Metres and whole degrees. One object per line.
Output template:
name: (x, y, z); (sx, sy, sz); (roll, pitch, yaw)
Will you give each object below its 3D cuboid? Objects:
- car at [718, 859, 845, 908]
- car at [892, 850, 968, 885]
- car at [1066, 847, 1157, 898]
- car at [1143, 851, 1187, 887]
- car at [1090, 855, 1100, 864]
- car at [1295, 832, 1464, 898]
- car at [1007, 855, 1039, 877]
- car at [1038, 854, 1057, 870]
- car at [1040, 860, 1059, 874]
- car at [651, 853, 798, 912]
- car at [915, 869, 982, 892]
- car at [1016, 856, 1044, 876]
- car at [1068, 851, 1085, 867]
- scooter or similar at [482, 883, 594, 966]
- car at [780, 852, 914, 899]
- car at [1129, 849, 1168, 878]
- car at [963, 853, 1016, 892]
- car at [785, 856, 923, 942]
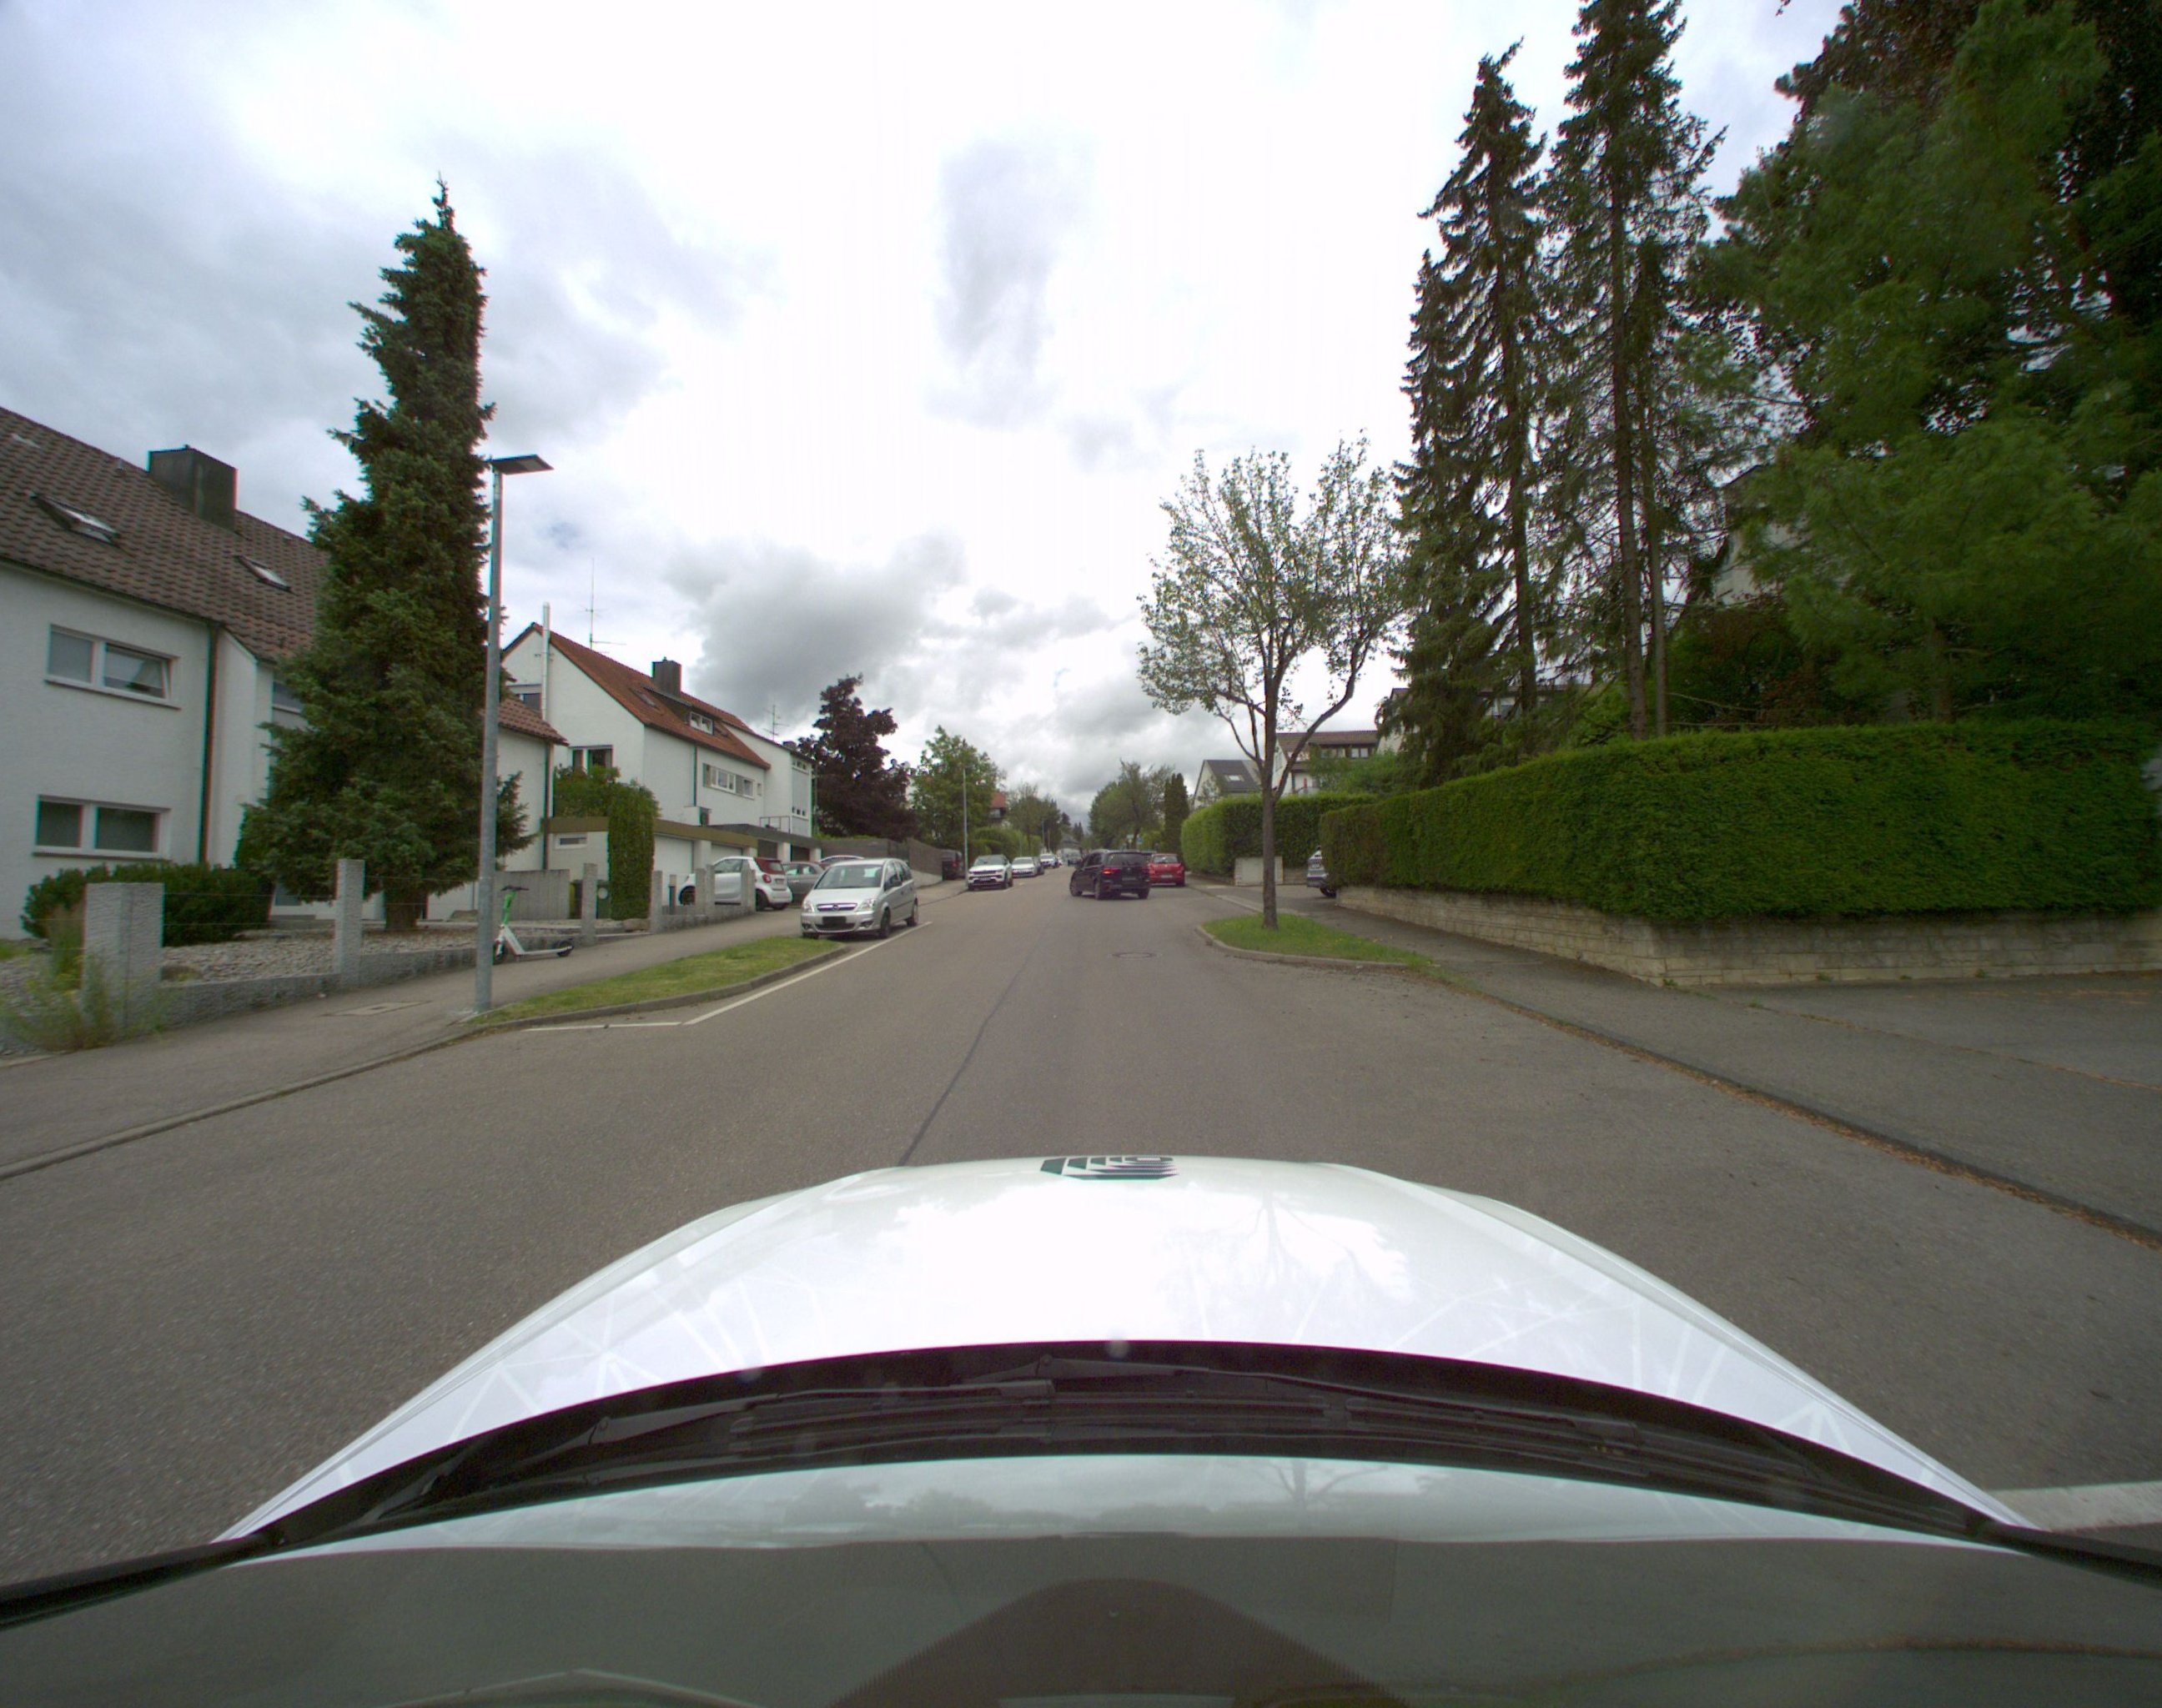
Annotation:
car: (-9.635, 0.937, 26.391); (3.416, 1.512, 1.693); (1, -1, 2)
car: (-9.211, 0.826, 49.805); (4.049, 1.950, 2.005); (-2, -2, 9)
car: (0.958, 0.621, 28.312); (1.852, 1.611, 4.286); (-1, -1, -17)
car: (3.749, 0.634, 36.937); (1.655, 1.508, 3.759); (-2, 0, 1)
car: (2.842, 1.120, 164.250); (1.661, 1.668, 3.463); (-1, 0, -3)
car: (8.627, 0.289, 23.717); (4.205, 1.599, 1.877); (-4, 1, -8)
car: (-4.037, 0.820, 57.704); (1.831, 1.422, 4.408); (-3, 0, 0)
car: (-3.373, 0.792, 82.311); (1.717, 1.540, 3.998); (-3, 0, -1)
car: (-3.360, 1.416, 88.244); (1.756, 1.388, 4.000); (-4, -2, 1)
car: (-10.139, 0.806, 23.319); (3.416, 1.578, 1.657); (1, -1, 2)
car: (-8.676, 1.728, 53.420); (3.959, 1.445, 1.785); (-1, 0, 13)
car: (-3.880, 0.929, 62.407); (1.721, 1.423, 4.080); (-3, -1, 1)
car: (-0.532, 0.650, 101.253); (1.879, 1.851, 4.402); (-2, 0, 1)
scooter or similar: (-8.329, 1.047, 12.564); (0.470, 1.148, 1.461); (0, 0, 17)
car: (-8.626, 0.783, 30.285); (4.397, 1.629, 1.910); (1, 0, 0)
car: (3.811, 0.535, 46.640); (1.986, 1.618, 4.515); (0, 0, 2)
car: (-4.329, 0.823, 39.252); (1.830, 1.666, 4.410); (-3, 0, 2)
car: (-4.689, 0.863, 17.437); (1.754, 1.563, 3.856); (-3, 0, 1)
